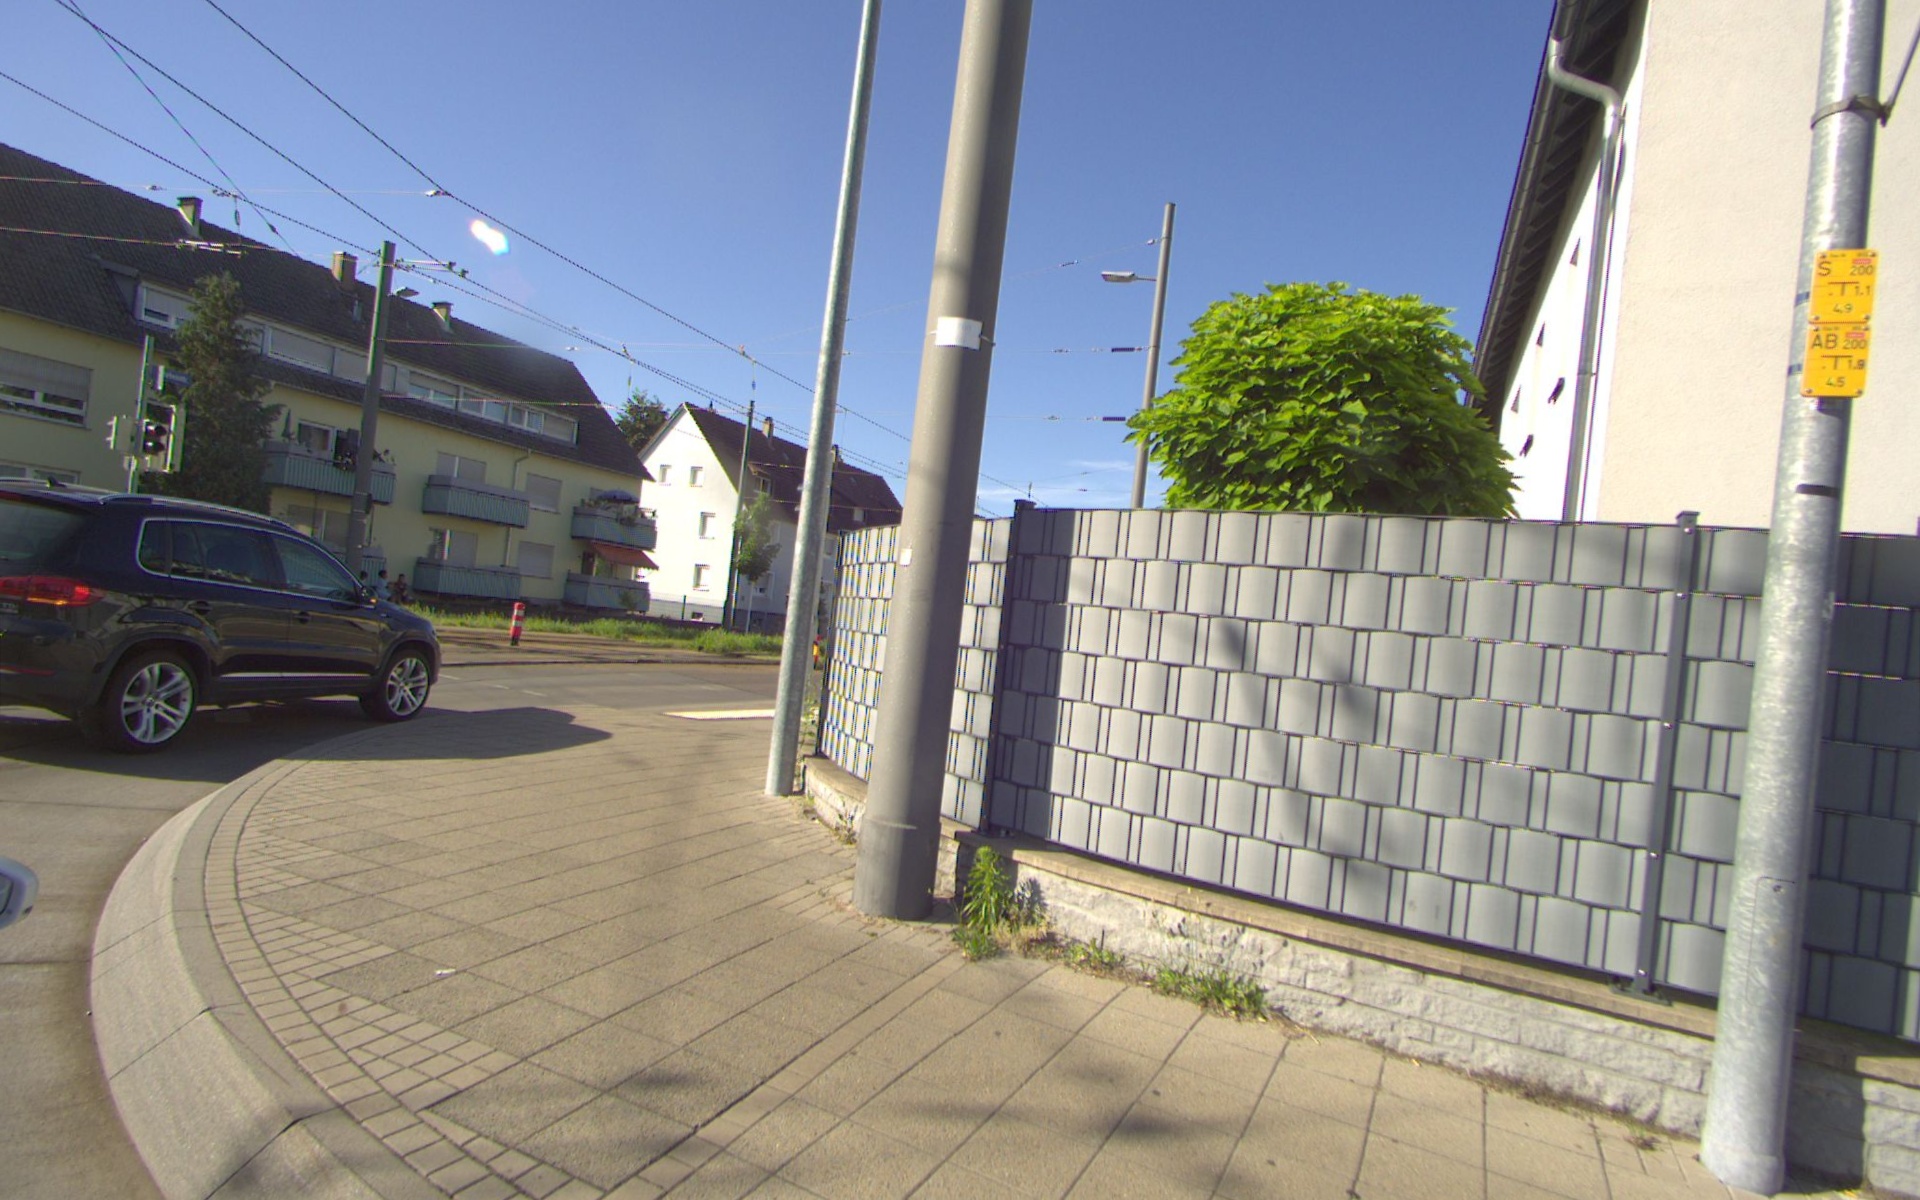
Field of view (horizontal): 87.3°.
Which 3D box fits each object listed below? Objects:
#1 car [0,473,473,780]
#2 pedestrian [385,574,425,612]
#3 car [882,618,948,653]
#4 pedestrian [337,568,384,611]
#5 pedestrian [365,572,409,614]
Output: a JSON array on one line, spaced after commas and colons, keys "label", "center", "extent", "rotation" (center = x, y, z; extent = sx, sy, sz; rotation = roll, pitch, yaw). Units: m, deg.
[{"label": "car", "center": [-5.931, 0.107, 7.821], "extent": [1.784, 1.690, 4.260], "rotation": [8, -1, 4]}, {"label": "pedestrian", "center": [-16.449, -0.203, 29.834], "extent": [0.711, 1.017, 0.596], "rotation": [7, -2, 1]}, {"label": "car", "center": [-2.395, 1.929, 54.489], "extent": [1.668, 1.536, 4.212], "rotation": [6, -2, 26]}, {"label": "pedestrian", "center": [-16.898, -0.293, 28.347], "extent": [0.805, 1.058, 0.688], "rotation": [6, -1, 22]}, {"label": "pedestrian", "center": [-16.611, -0.194, 29.159], "extent": [0.806, 1.077, 0.626], "rotation": [7, -2, -8]}]
